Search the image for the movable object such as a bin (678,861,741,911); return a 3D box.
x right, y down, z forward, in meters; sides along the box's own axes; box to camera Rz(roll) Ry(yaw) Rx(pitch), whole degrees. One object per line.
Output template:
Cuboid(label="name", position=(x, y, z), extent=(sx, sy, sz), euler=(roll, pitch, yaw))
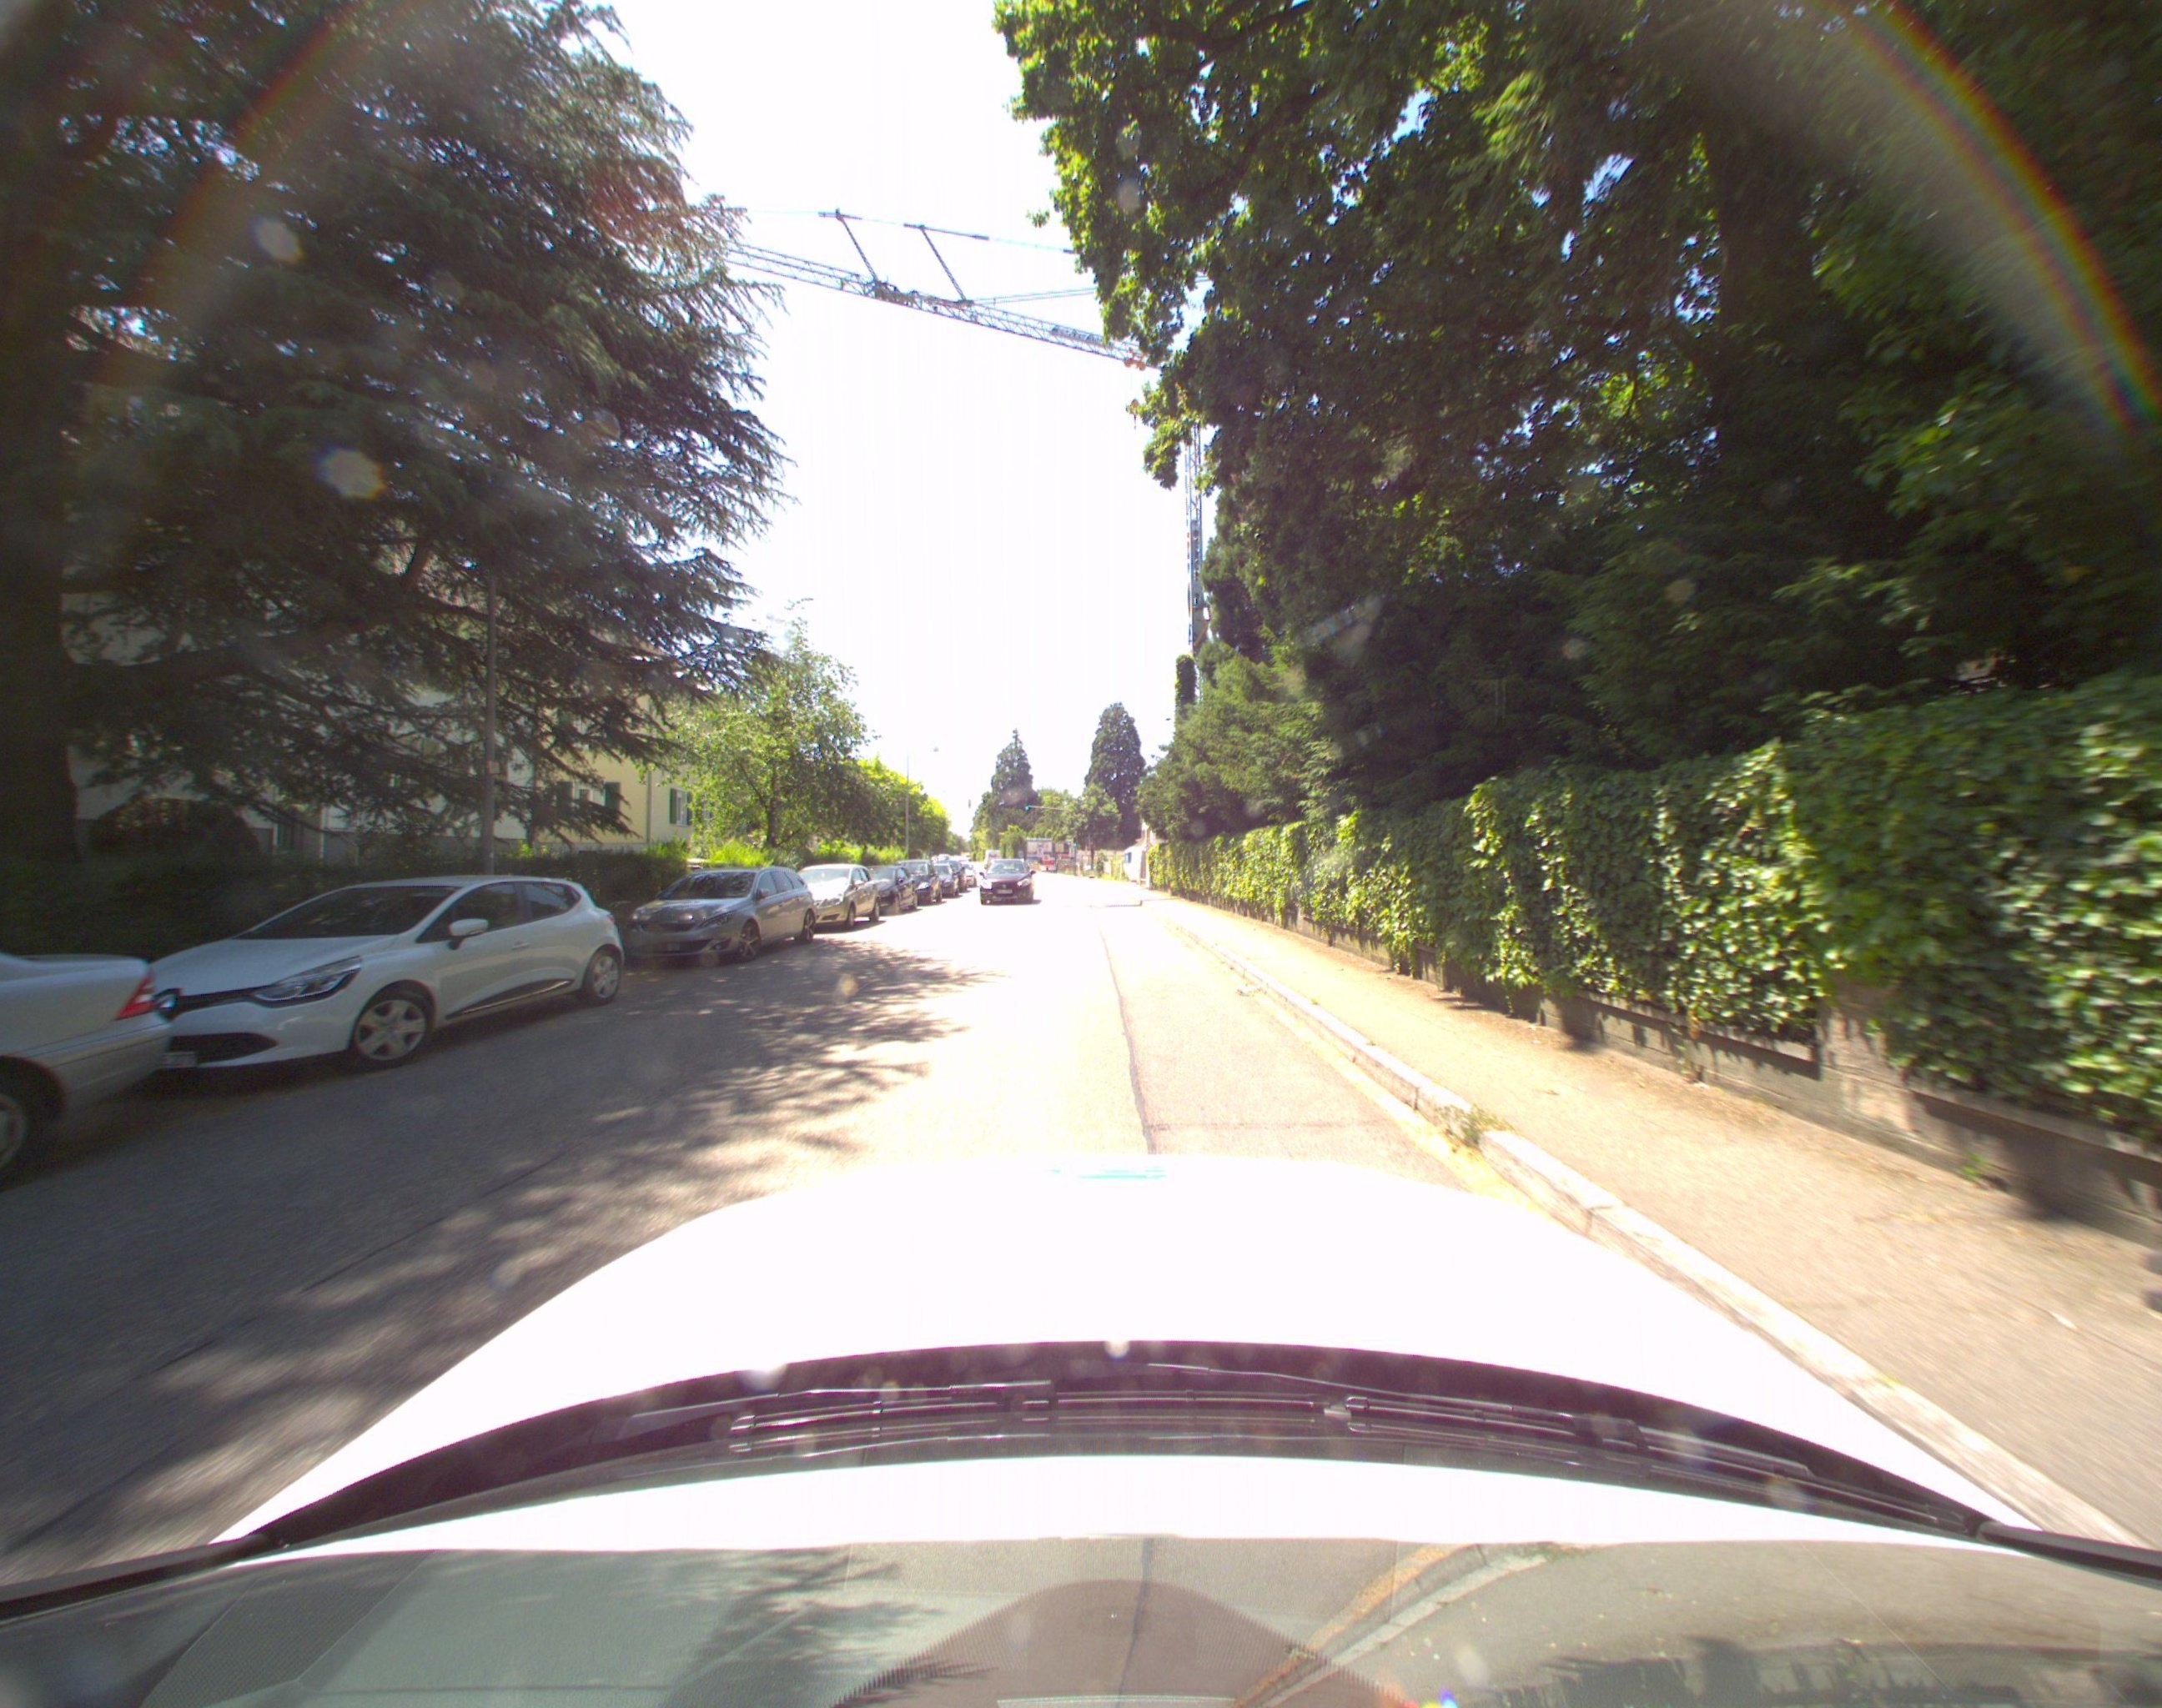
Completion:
Cuboid(label="movable object such as a bin", position=(-9.360, 0.791, 20.572), extent=(1.296, 1.199, 0.968), euler=(-1, -1, -17))

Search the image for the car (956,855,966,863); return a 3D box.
Cuboid(label="car", position=(-28.474, 1.191, 193.425), extent=(1.995, 1.662, 3.983), euler=(0, -1, -12))

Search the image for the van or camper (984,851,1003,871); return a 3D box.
Cuboid(label="van or camper", position=(-11.597, 0.940, 107.967), extent=(2.262, 2.528, 4.744), euler=(-1, 0, -9))

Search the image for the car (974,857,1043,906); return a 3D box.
Cuboid(label="car", position=(-2.502, 0.932, 29.003), extent=(1.892, 1.575, 4.143), euler=(-1, -1, 2))

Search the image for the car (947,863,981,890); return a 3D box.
Cuboid(label="car", position=(-6.651, 1.241, 46.638), extent=(1.678, 1.441, 4.239), euler=(-2, 0, -5))

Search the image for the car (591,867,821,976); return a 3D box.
Cuboid(label="car", position=(-5.926, 0.975, 13.529), extent=(1.790, 1.442, 4.272), euler=(-2, 0, 0))

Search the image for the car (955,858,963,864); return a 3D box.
Cuboid(label="car", position=(-34.234, 1.949, 227.934), extent=(1.995, 1.662, 3.983), euler=(0, -1, -12))

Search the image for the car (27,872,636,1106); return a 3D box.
Cuboid(label="car", position=(-6.029, 0.933, 7.335), extent=(1.790, 1.442, 3.897), euler=(-2, 0, 1))

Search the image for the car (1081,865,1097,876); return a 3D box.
Cuboid(label="car", position=(0.989, 2.040, 99.481), extent=(1.705, 1.270, 3.387), euler=(1, -1, 2))

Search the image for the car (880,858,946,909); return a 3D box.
Cuboid(label="car", position=(-5.946, 1.003, 29.219), extent=(1.677, 1.639, 3.786), euler=(-2, -1, -2))

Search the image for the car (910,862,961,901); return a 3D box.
Cuboid(label="car", position=(-6.117, 1.119, 34.638), extent=(1.678, 1.476, 4.322), euler=(-2, 0, -5))

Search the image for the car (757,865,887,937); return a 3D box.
Cuboid(label="car", position=(-5.944, 1.024, 19.150), extent=(1.790, 1.442, 3.785), euler=(-2, 0, 0))

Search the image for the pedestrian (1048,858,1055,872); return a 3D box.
Cuboid(label="pedestrian", position=(-3.299, 1.279, 92.357), extent=(0.695, 1.600, 0.570), euler=(2, -1, -11))

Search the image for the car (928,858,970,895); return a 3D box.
Cuboid(label="car", position=(-6.435, 1.071, 40.002), extent=(1.678, 1.637, 4.322), euler=(-2, 0, -5))

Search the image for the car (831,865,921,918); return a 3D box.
Cuboid(label="car", position=(-5.992, 1.055, 24.223), extent=(1.675, 1.401, 3.789), euler=(-2, 0, 0))

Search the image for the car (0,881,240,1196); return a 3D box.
Cuboid(label="car", position=(-5.995, 0.894, 2.648), extent=(1.790, 1.442, 4.477), euler=(-2, 0, 1))
